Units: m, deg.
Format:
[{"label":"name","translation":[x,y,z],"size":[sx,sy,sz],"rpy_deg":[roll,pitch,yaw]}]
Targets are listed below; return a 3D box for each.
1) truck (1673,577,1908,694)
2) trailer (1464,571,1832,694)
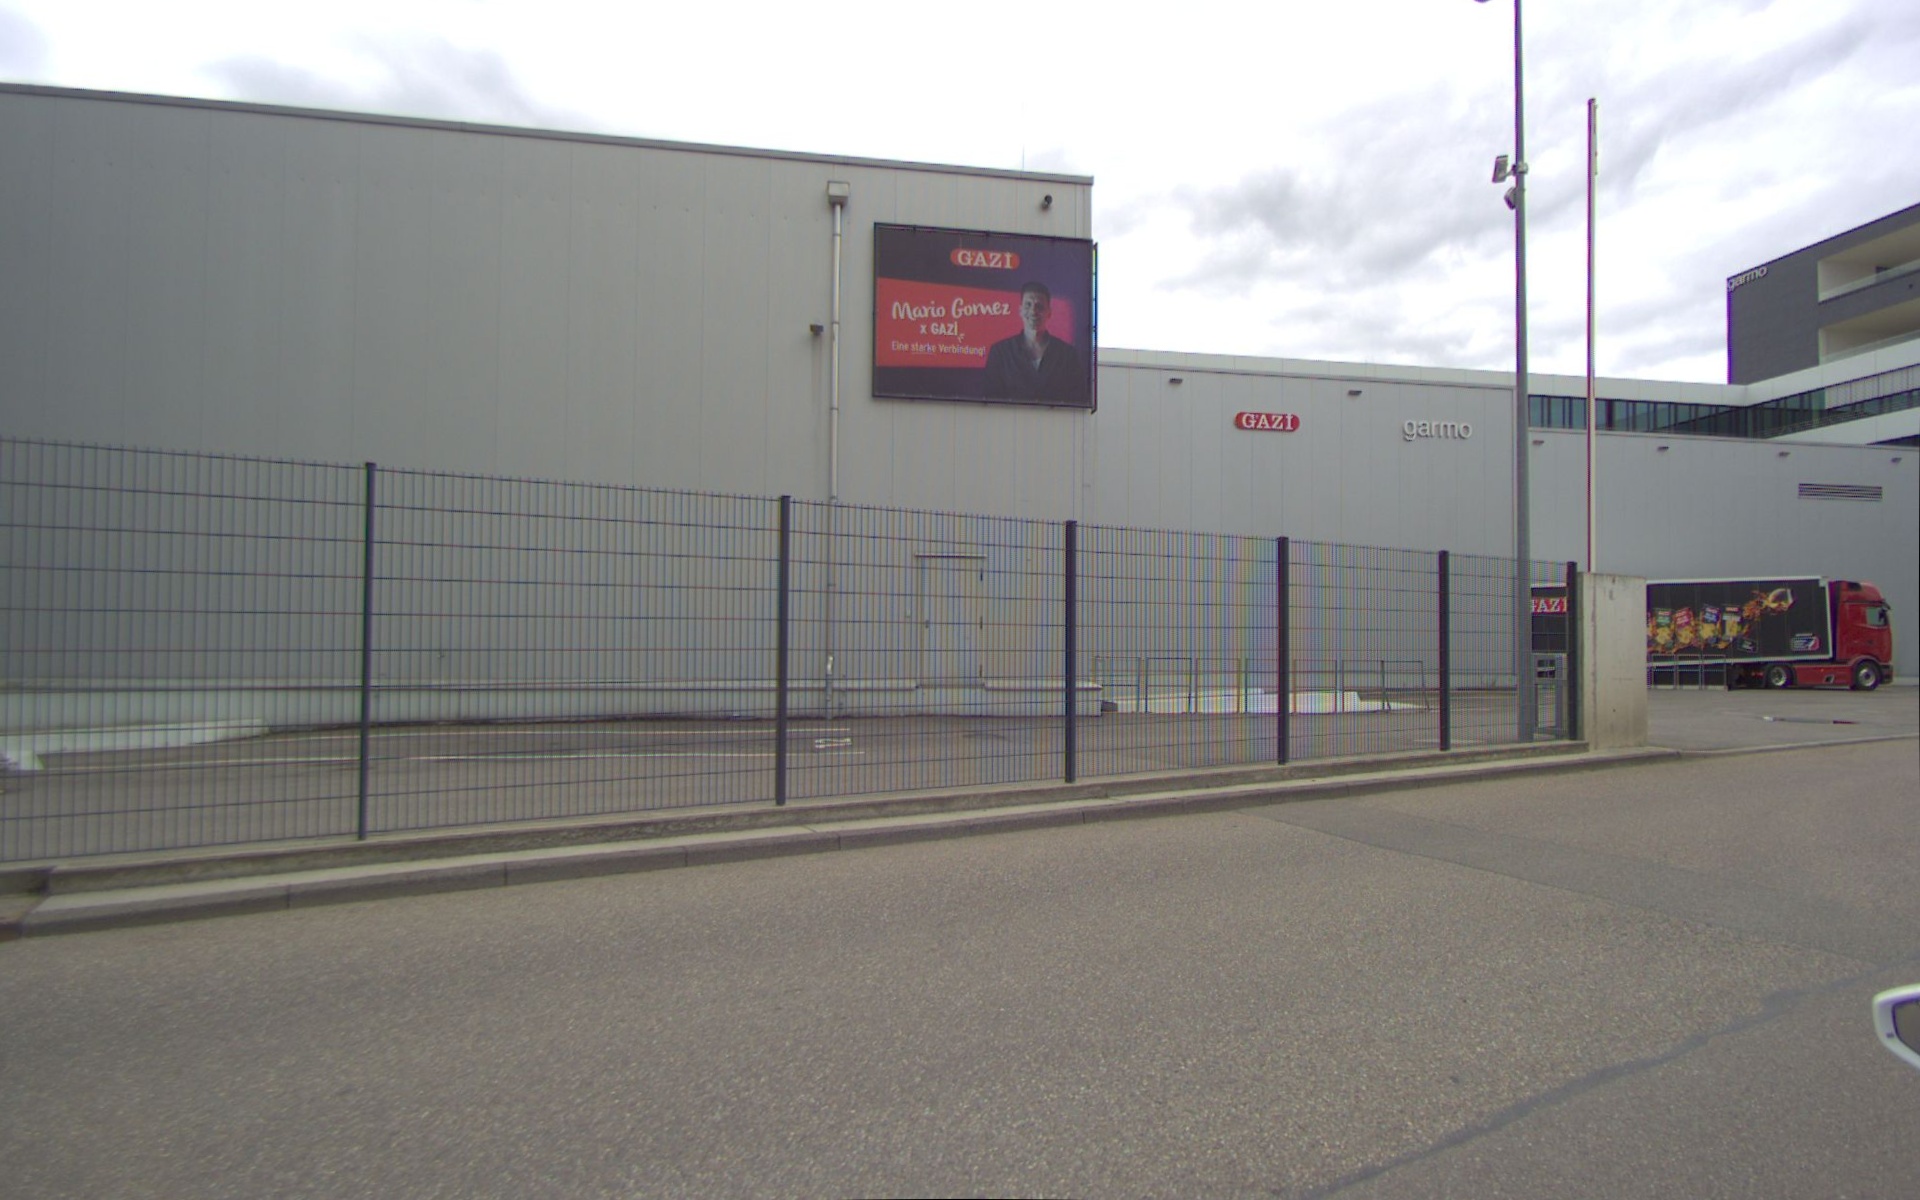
[{"label":"truck","translation":[30.358,1.327,36.821],"size":[6.964,4.084,2.747],"rpy_deg":[1,-2,-9]},{"label":"trailer","translation":[24.477,1.211,35.829],"size":[12.388,4.084,2.747],"rpy_deg":[1,-2,-9]}]
